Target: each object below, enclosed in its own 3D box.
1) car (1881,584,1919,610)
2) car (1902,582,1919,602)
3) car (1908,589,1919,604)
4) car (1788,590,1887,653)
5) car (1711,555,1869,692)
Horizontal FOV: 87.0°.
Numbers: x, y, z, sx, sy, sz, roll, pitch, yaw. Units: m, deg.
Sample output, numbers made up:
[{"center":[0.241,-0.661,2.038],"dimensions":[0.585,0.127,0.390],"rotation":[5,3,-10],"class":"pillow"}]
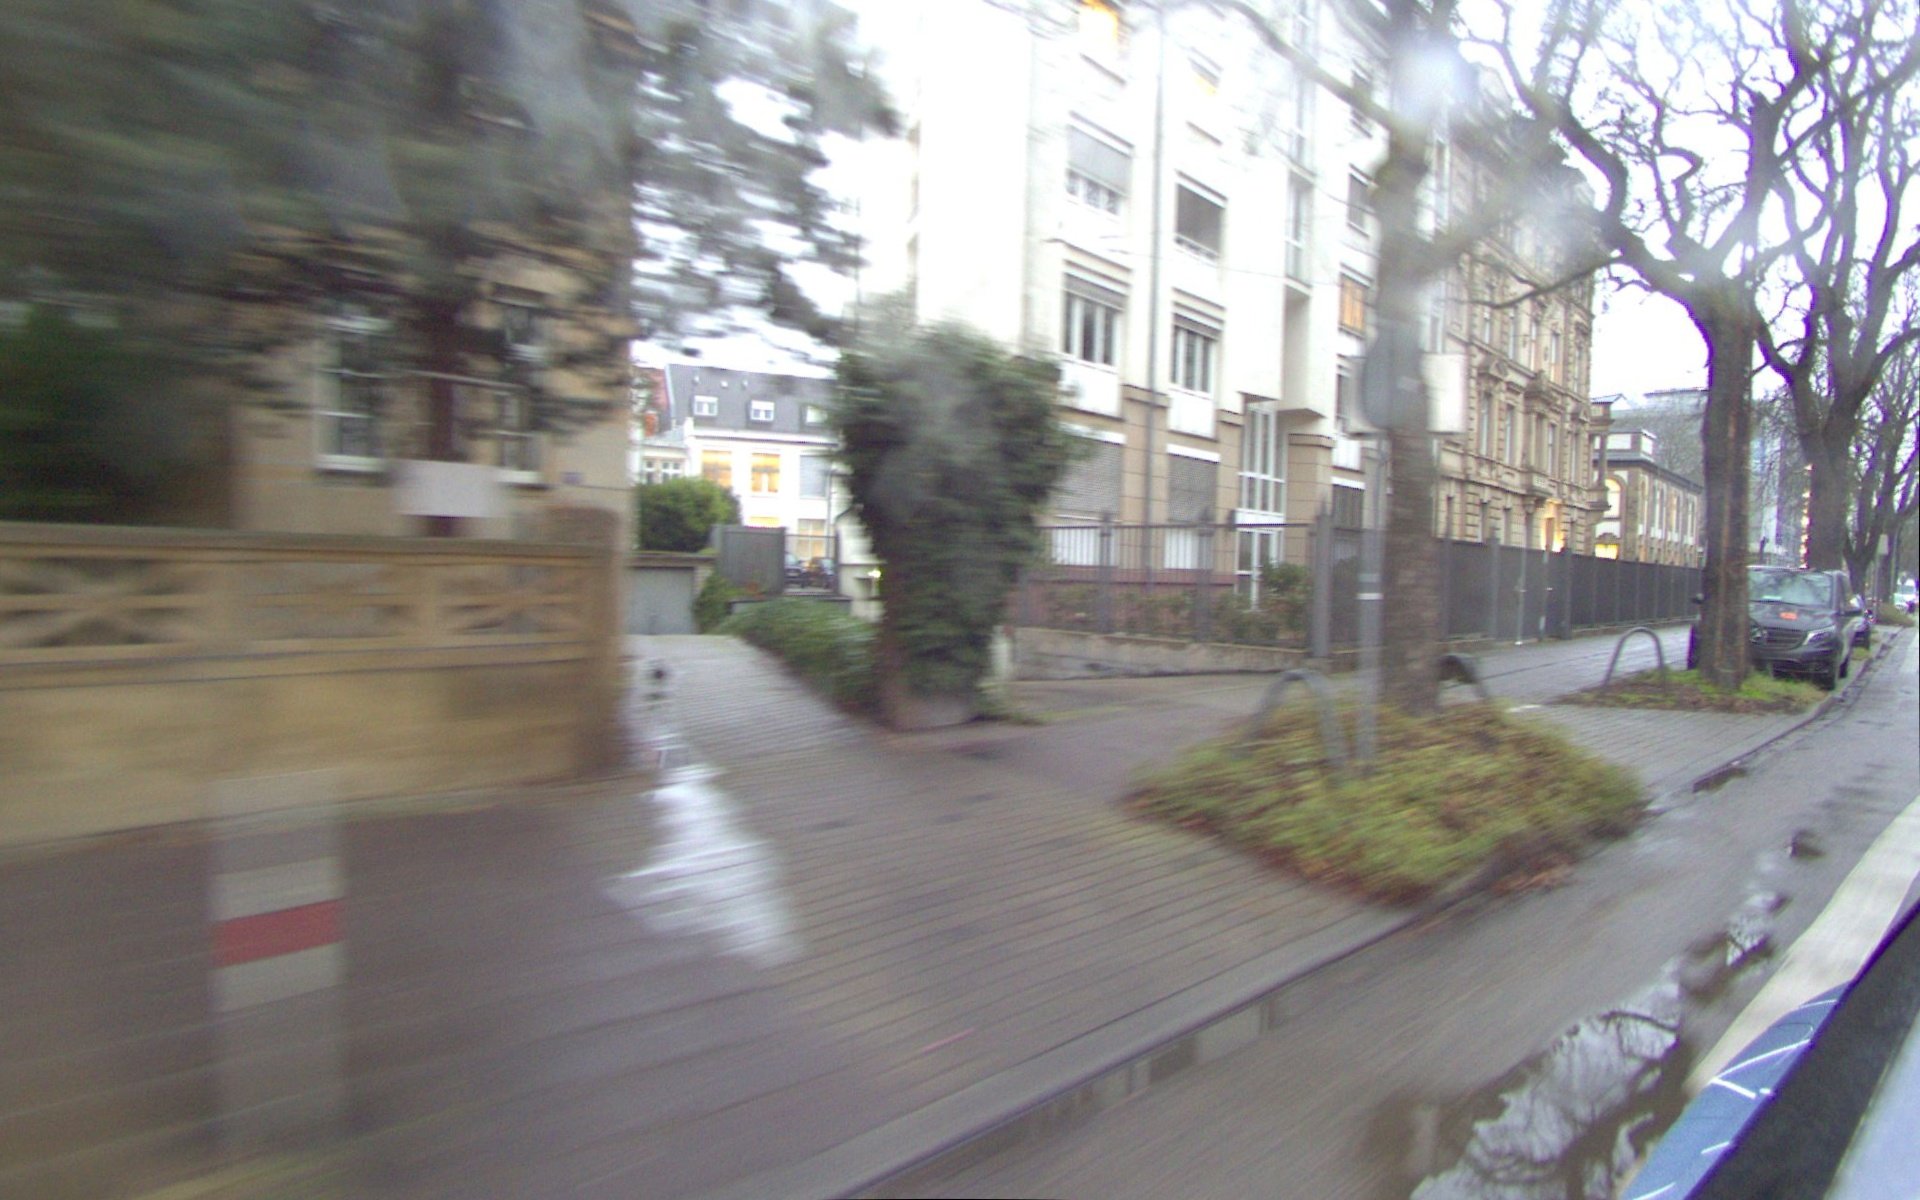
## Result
[{"center":[54.865,-0.213,58.894],"dimensions":[1.720,1.430,3.786],"rotation":[3,3,41],"class":"car"},{"center":[68.427,-0.573,72.147],"dimensions":[1.720,1.431,3.786],"rotation":[-1,0,41],"class":"car"},{"center":[93.098,-0.336,97.957],"dimensions":[1.720,1.431,3.786],"rotation":[-1,0,41],"class":"car"},{"center":[21.685,0.487,25.051],"dimensions":[1.720,1.431,3.786],"rotation":[-1,0,41],"class":"car"},{"center":[13.807,0.327,16.737],"dimensions":[1.721,1.970,4.438],"rotation":[-1,0,43],"class":"car"}]
